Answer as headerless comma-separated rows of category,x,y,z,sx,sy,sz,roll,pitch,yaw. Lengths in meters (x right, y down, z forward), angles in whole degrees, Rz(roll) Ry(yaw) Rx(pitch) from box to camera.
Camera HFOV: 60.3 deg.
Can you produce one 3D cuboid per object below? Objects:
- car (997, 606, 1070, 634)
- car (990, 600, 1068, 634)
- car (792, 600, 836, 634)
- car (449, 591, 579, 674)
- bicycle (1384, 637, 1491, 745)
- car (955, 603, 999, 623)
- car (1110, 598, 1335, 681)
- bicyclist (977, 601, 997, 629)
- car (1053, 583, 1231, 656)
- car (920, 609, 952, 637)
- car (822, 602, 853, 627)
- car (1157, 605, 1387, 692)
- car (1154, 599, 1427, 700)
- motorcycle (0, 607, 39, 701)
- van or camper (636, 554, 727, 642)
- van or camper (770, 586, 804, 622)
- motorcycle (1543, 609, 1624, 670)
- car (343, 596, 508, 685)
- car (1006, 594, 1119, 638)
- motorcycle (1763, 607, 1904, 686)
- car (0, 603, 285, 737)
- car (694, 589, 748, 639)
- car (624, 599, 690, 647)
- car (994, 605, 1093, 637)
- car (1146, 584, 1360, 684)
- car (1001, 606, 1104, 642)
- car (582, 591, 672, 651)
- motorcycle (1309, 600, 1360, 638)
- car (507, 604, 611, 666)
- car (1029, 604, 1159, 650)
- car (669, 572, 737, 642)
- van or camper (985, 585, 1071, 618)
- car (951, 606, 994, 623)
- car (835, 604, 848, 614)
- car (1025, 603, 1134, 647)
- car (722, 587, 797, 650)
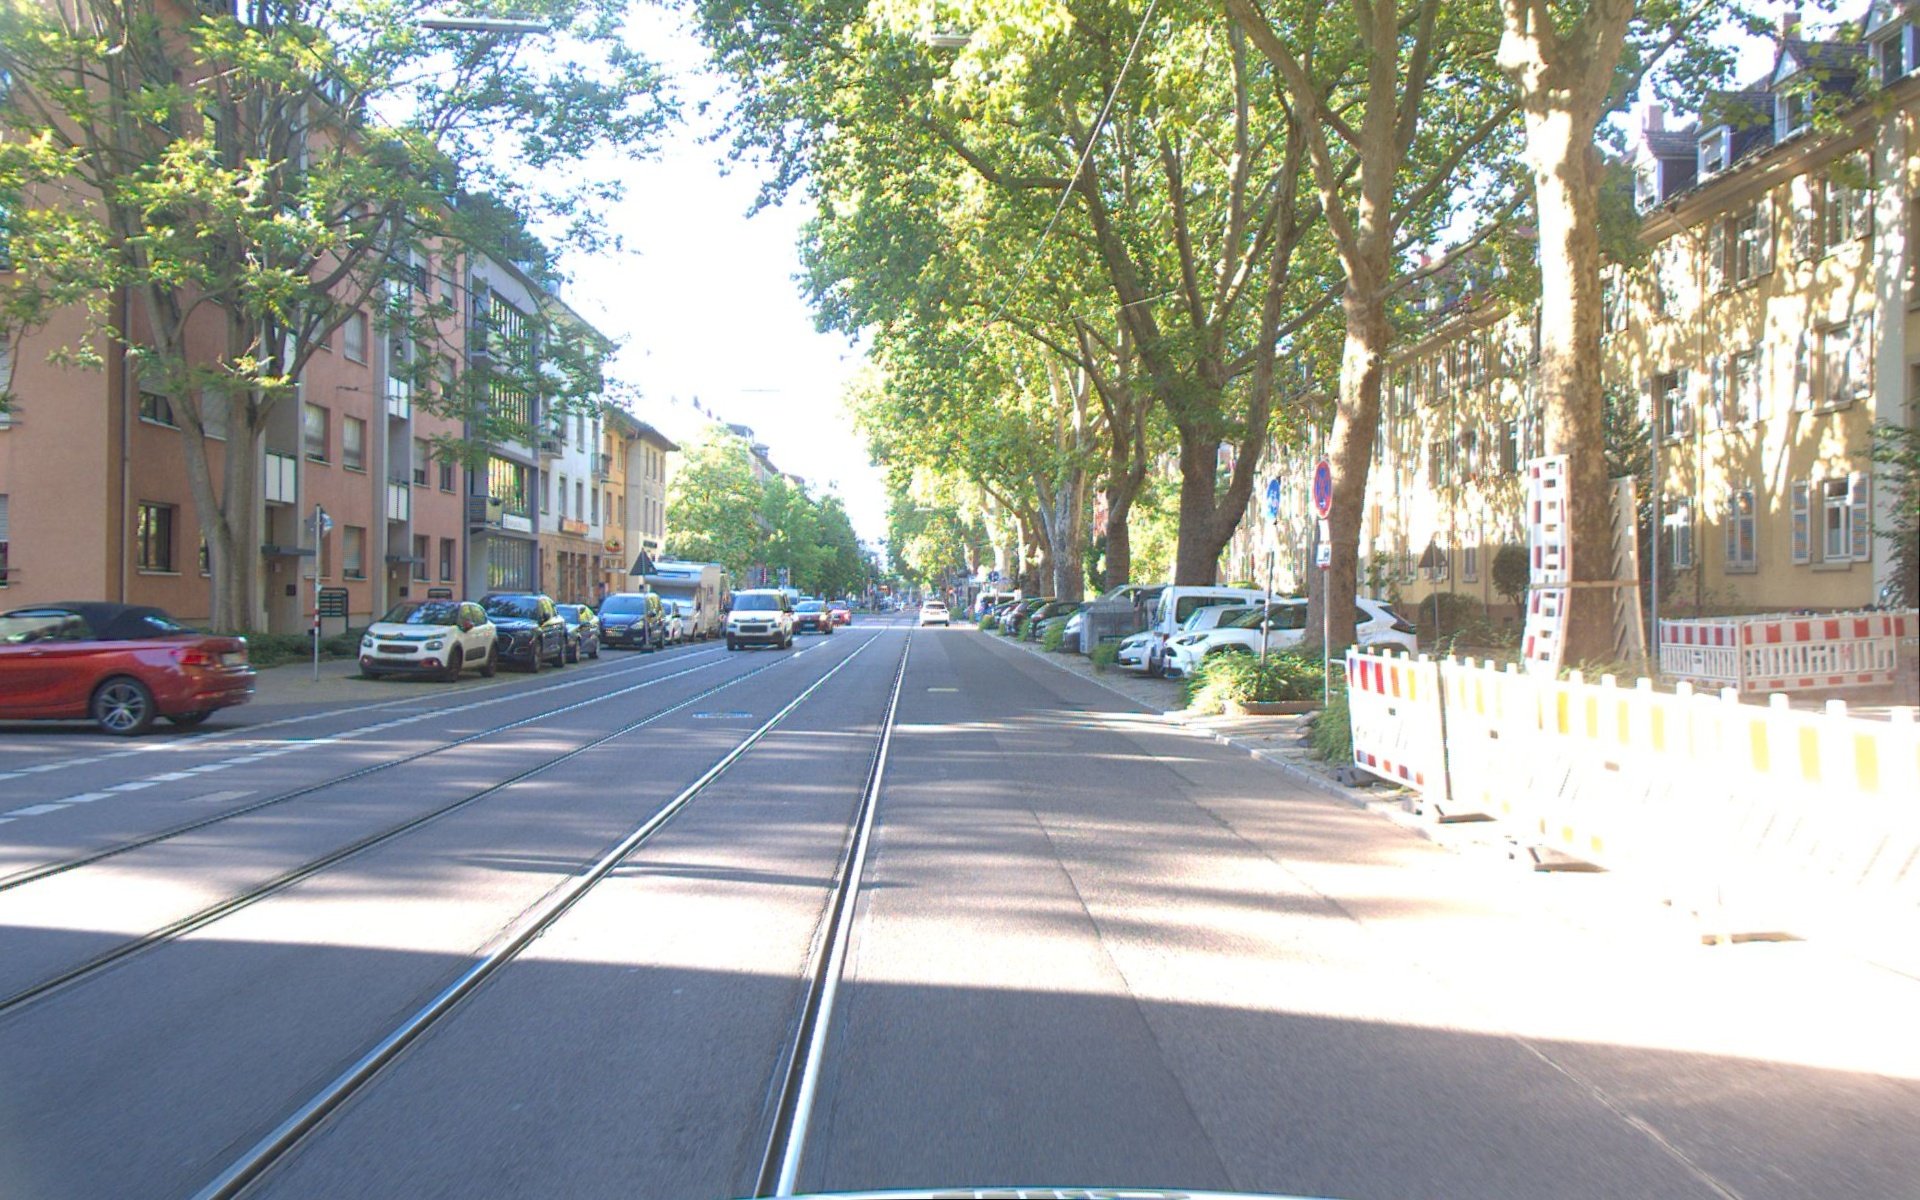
car,3.713,1.006,83.835,3.576,1.402,1.889,0,0,-1
car,3.571,0.870,86.056,3.846,1.699,1.959,0,0,-3
car,-6.630,0.769,75.433,1.740,1.483,4.201,-1,0,-2
car,-9.837,0.676,36.820,1.745,1.638,4.585,3,0,-3
bicycle,5.228,0.974,18.209,0.622,1.089,1.808,0,0,-1
car,1.504,1.192,150.102,3.906,1.816,1.999,0,0,-1
car,5.204,0.767,33.223,4.279,1.569,1.802,0,1,2
bicyclist,1.646,0.909,102.278,1.027,1.735,1.055,0,0,-11
car,5.092,0.547,46.692,4.740,1.998,2.063,0,0,-4
car,-1.447,1.353,98.942,1.879,1.612,3.790,-1,0,-2
car,-7.400,0.867,100.212,1.688,1.462,4.067,-1,0,-2
car,5.447,0.837,29.242,3.764,1.458,1.852,0,0,2
car,5.299,0.788,26.849,4.006,1.548,1.915,0,-1,-3
motorcycle,-14.248,0.807,23.712,0.884,1.303,2.347,0,2,-4
van or camper,-10.691,-0.069,64.017,2.290,3.094,6.396,3,0,-1
van or camper,-12.894,0.309,123.566,2.037,2.577,5.316,0,0,-1
motorcycle,12.433,0.768,33.056,0.700,1.173,2.263,0,0,-1
car,-10.071,0.730,31.479,1.769,1.504,4.089,3,0,-1
car,4.087,0.643,66.047,4.403,1.630,2.028,-2,0,2
motorcycle,14.285,0.751,27.080,1.950,1.272,0.713,0,0,-3
car,-10.052,0.758,18.604,4.135,1.414,1.798,0,-2,0
car,-11.022,0.614,76.676,1.914,2.128,5.245,4,0,-3
car,-10.494,0.788,57.509,1.676,1.514,3.860,3,0,-3
car,3.965,1.011,78.974,4.592,1.472,1.891,0,0,-2
car,5.459,0.628,31.206,3.764,1.803,1.917,0,0,2
car,3.904,1.014,70.579,4.209,1.464,1.947,0,0,-3
car,-10.315,0.620,51.636,1.913,1.716,5.068,2,0,-3
motorcycle,14.431,0.720,63.762,1.768,1.385,0.622,-3,0,-4
car,-10.144,0.849,42.151,1.703,1.425,4.380,2,0,-3
car,4.473,0.902,55.575,4.161,1.509,1.897,0,0,-2
car,-10.938,0.284,70.622,2.045,2.779,5.307,3,0,-2
van or camper,4.480,0.093,110.136,5.448,2.048,2.242,0,2,-6
car,1.137,1.322,152.397,3.906,1.547,1.999,0,0,-1
car,-17.862,1.381,249.058,1.880,1.444,3.588,0,0,-4
car,4.259,0.882,59.477,3.761,1.536,1.710,0,0,-2
car,-6.203,0.559,51.578,1.853,1.864,4.893,0,0,-2
